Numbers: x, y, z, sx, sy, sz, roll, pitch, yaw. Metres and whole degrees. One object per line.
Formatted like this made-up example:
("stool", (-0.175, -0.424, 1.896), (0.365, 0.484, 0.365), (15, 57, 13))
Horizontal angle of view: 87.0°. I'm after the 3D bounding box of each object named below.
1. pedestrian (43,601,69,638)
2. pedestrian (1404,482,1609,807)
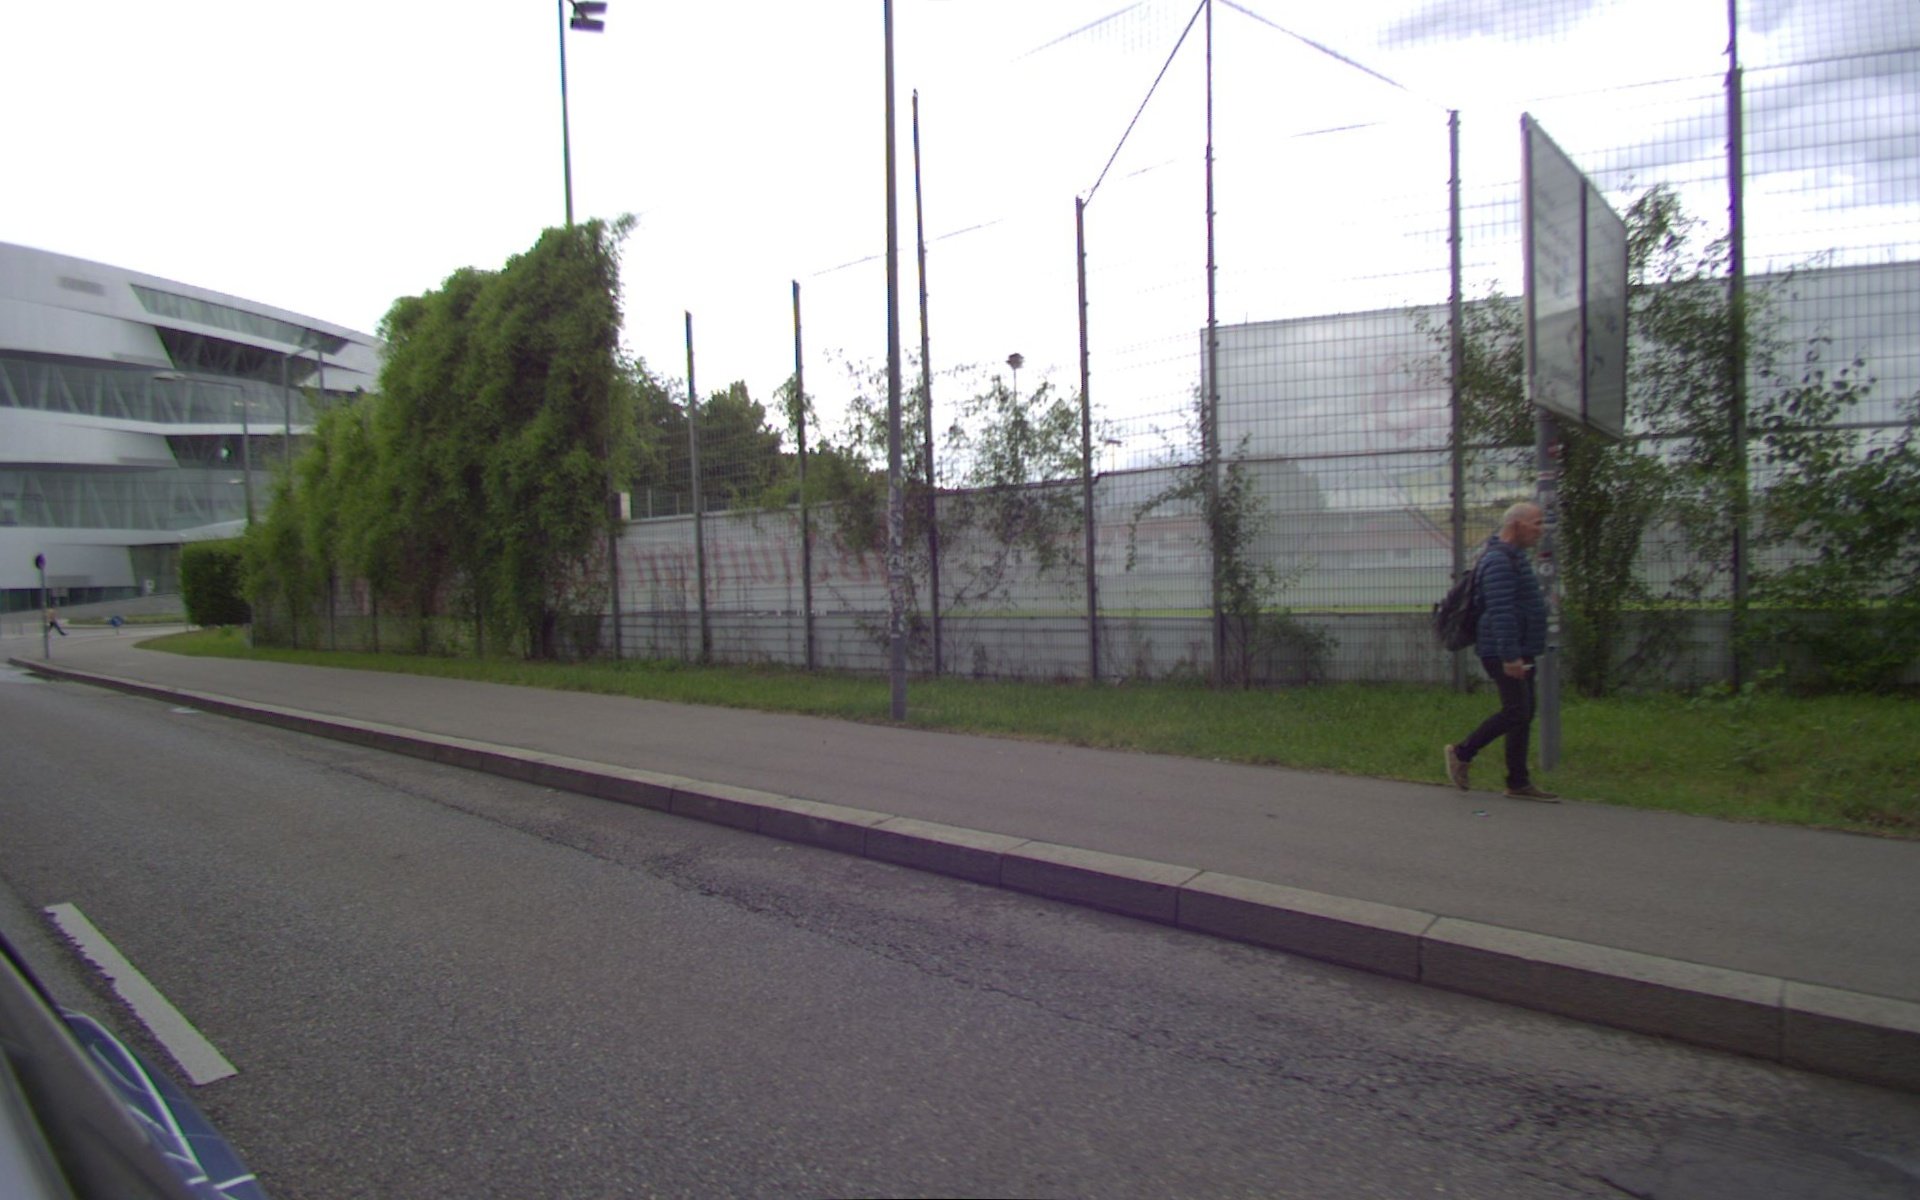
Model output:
("pedestrian", (-51.004, 1.111, 57.102), (1.023, 2.029, 0.786), (-2, 0, -39))
("pedestrian", (3.338, 0.250, 6.180), (0.919, 1.794, 0.796), (-3, 0, 38))
